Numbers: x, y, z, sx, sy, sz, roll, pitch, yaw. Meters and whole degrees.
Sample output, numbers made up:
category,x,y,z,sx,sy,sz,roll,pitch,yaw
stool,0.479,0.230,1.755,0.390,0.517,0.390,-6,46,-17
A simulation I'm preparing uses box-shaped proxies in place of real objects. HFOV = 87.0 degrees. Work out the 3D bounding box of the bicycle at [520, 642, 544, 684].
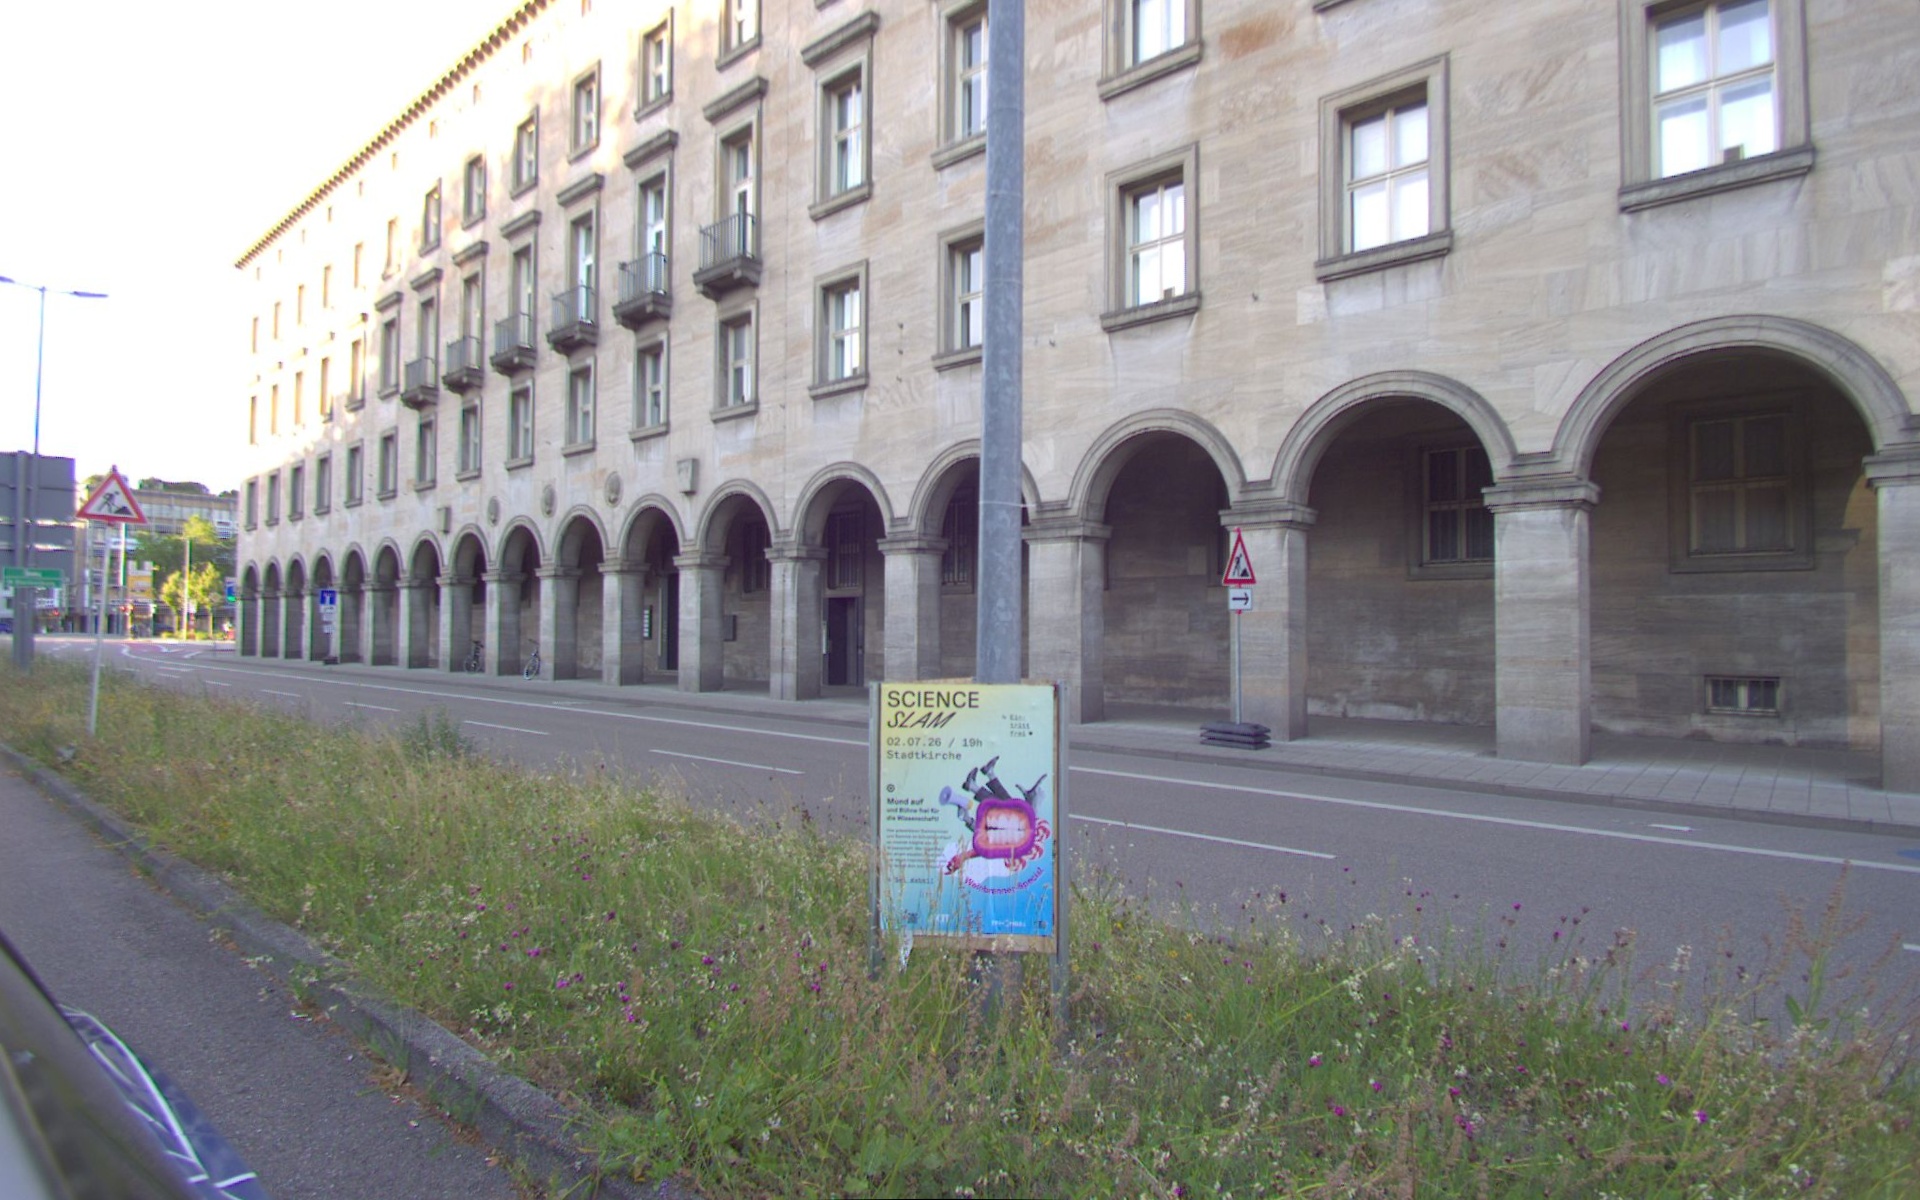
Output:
category,x,y,z,sx,sy,sz,roll,pitch,yaw
bicycle,-12.794,1.861,30.305,0.505,1.130,2.431,1,-1,-20

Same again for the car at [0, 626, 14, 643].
category,x,y,z,sx,sy,sz,roll,pitch,yaw
car,-117.122,4.128,121.932,2.000,2.029,4.378,-2,-3,43

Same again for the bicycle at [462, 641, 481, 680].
category,x,y,z,sx,sy,sz,roll,pitch,yaw
bicycle,-15.451,1.889,32.029,0.505,1.188,2.431,1,-2,-25

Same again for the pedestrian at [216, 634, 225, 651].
category,x,y,z,sx,sy,sz,roll,pitch,yaw
pedestrian,-67.729,3.848,92.658,0.389,1.553,0.519,-2,-3,41
